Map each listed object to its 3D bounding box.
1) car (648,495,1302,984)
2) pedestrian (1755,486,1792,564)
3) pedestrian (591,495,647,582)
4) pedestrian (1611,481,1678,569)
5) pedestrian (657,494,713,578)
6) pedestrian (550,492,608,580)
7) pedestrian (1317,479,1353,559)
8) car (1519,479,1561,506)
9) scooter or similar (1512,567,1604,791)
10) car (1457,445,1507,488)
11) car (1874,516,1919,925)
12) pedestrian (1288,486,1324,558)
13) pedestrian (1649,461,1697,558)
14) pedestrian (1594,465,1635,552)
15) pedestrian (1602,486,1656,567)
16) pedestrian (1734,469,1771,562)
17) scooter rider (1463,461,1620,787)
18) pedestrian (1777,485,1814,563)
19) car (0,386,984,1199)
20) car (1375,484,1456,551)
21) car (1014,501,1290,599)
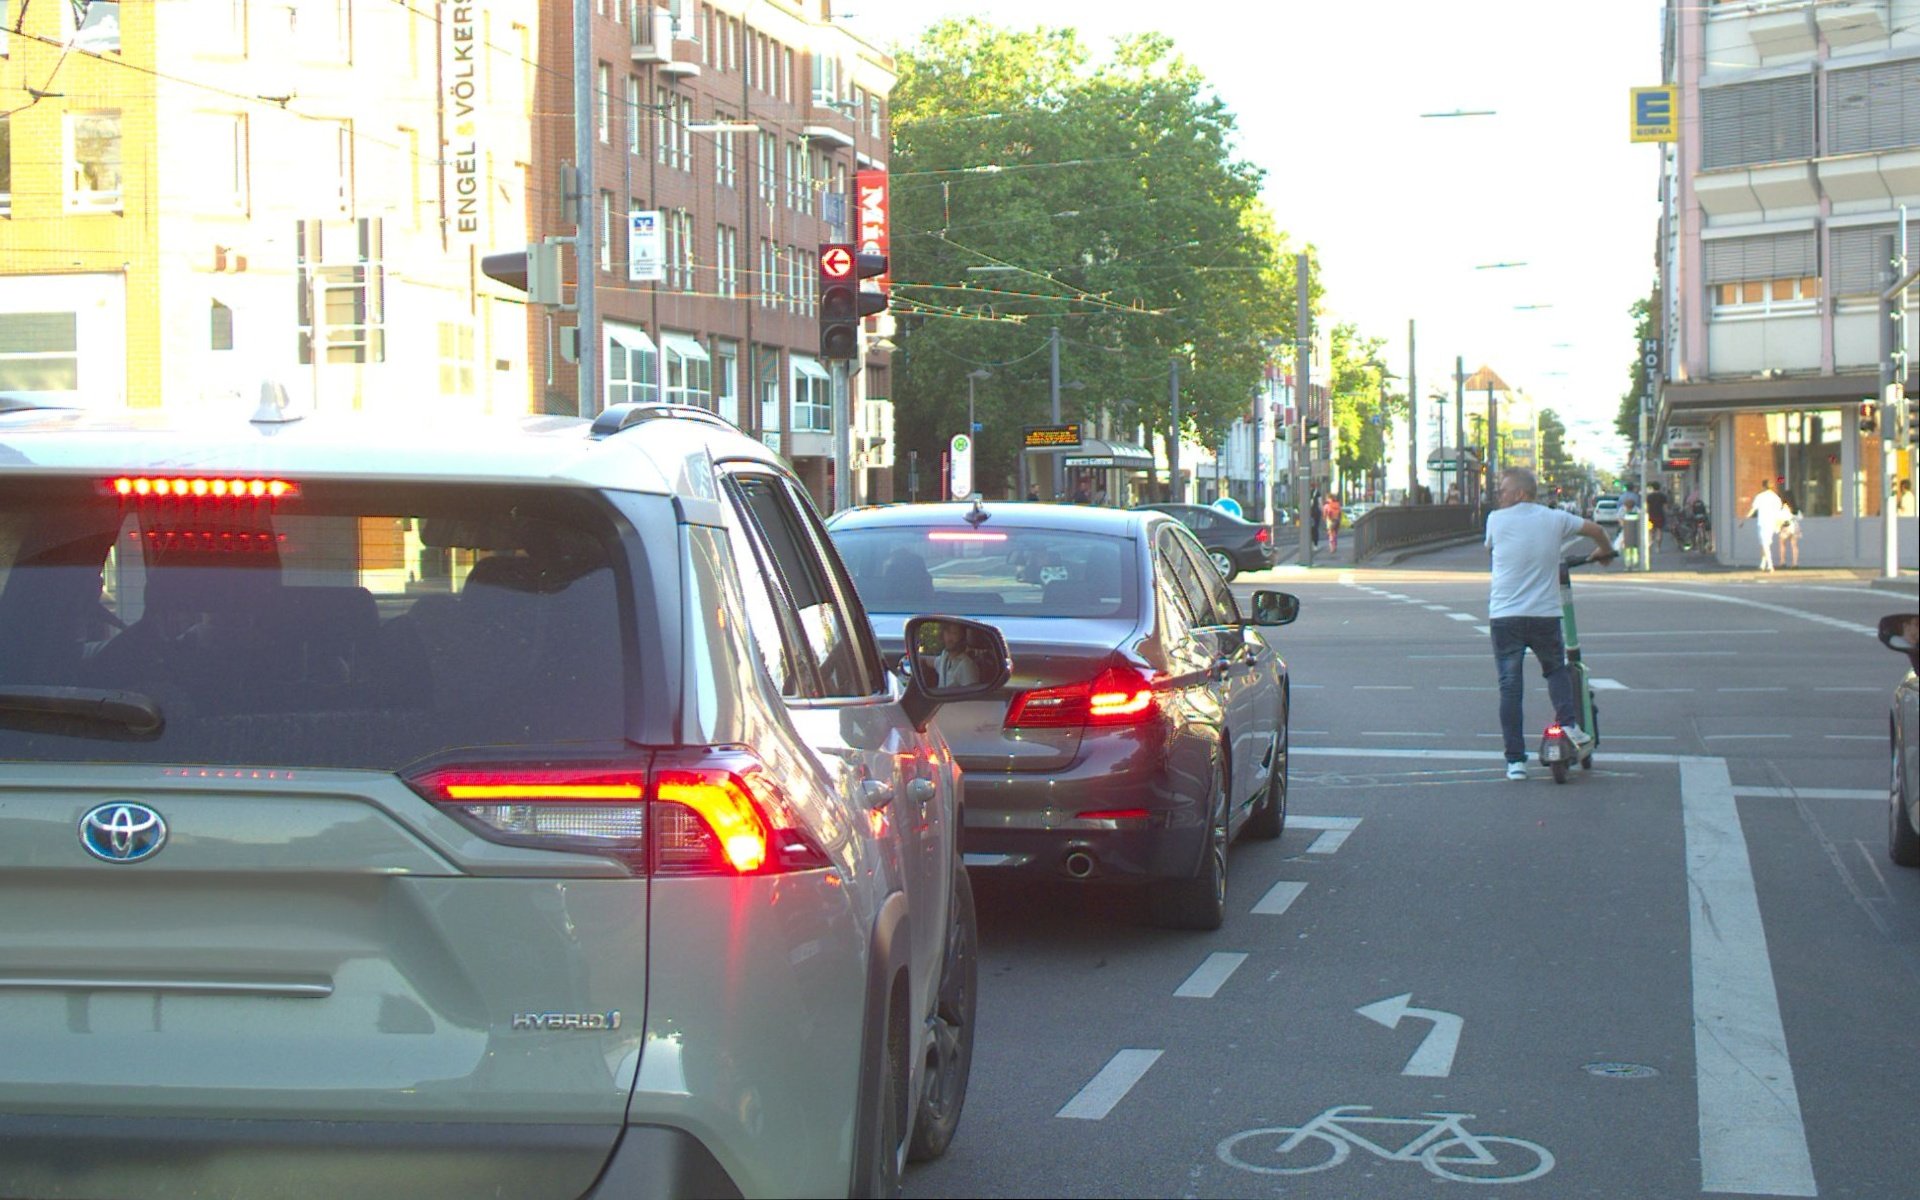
[{"bbox_3d":[0.246,0.368,13.057,1.745,1.455,4.408,1,2,10],"label":"car"},{"bbox_3d":[15.691,-1.450,66.297,0.493,1.498,0.475,-1,2,-26],"label":"pedestrian"},{"bbox_3d":[-7.990,-1.451,80.590,1.094,2.006,0.908,1,2,9],"label":"pedestrian"},{"bbox_3d":[13.604,-1.493,68.322,0.932,1.720,0.852,0,2,-30],"label":"pedestrian"},{"bbox_3d":[-6.691,-1.567,83.705,1.094,2.006,1.163,1,2,9],"label":"pedestrian"},{"bbox_3d":[-8.757,-1.476,78.966,1.094,2.006,0.908,1,2,9],"label":"pedestrian"},{"bbox_3d":[8.662,-1.868,79.347,0.701,1.816,0.807,1,2,13],"label":"pedestrian"},{"bbox_3d":[28.422,-5.269,168.397,1.994,1.305,3.999,0,2,10],"label":"car"},{"bbox_3d":[3.094,0.387,17.740,0.280,1.087,1.256,2,2,18],"label":"scooter or similar"},{"bbox_3d":[24.021,-6.141,158.189,1.994,1.894,3.998,1,2,12],"label":"car"},{"bbox_3d":[4.398,0.436,12.591,1.765,1.435,3.998,1,2,11],"label":"car"},{"bbox_3d":[8.028,-1.812,79.808,0.701,1.658,0.807,1,2,13],"label":"pedestrian"},{"bbox_3d":[17.591,-2.244,84.801,1.085,2.357,1.055,1,2,12],"label":"pedestrian"},{"bbox_3d":[16.580,-2.319,87.115,0.932,2.189,0.852,1,2,9],"label":"pedestrian"},{"bbox_3d":[13.508,-1.496,69.425,0.721,1.618,0.772,-2,2,-26],"label":"pedestrian"},{"bbox_3d":[15.218,-1.620,66.053,0.493,1.768,0.475,-2,2,-26],"label":"pedestrian"},{"bbox_3d":[3.016,0.110,17.809,0.662,1.641,0.660,2,2,20],"label":"scooter rider"},{"bbox_3d":[16.173,-1.468,66.551,0.493,1.498,0.475,-1,2,-26],"label":"pedestrian"},{"bbox_3d":[-0.950,0.468,6.144,1.835,1.630,4.091,1,3,2],"label":"car"},{"bbox_3d":[12.306,-2.239,92.704,1.812,1.740,3.713,1,2,12],"label":"car"},{"bbox_3d":[3.316,-0.873,58.976,4.553,1.615,1.997,1,2,8],"label":"car"}]
